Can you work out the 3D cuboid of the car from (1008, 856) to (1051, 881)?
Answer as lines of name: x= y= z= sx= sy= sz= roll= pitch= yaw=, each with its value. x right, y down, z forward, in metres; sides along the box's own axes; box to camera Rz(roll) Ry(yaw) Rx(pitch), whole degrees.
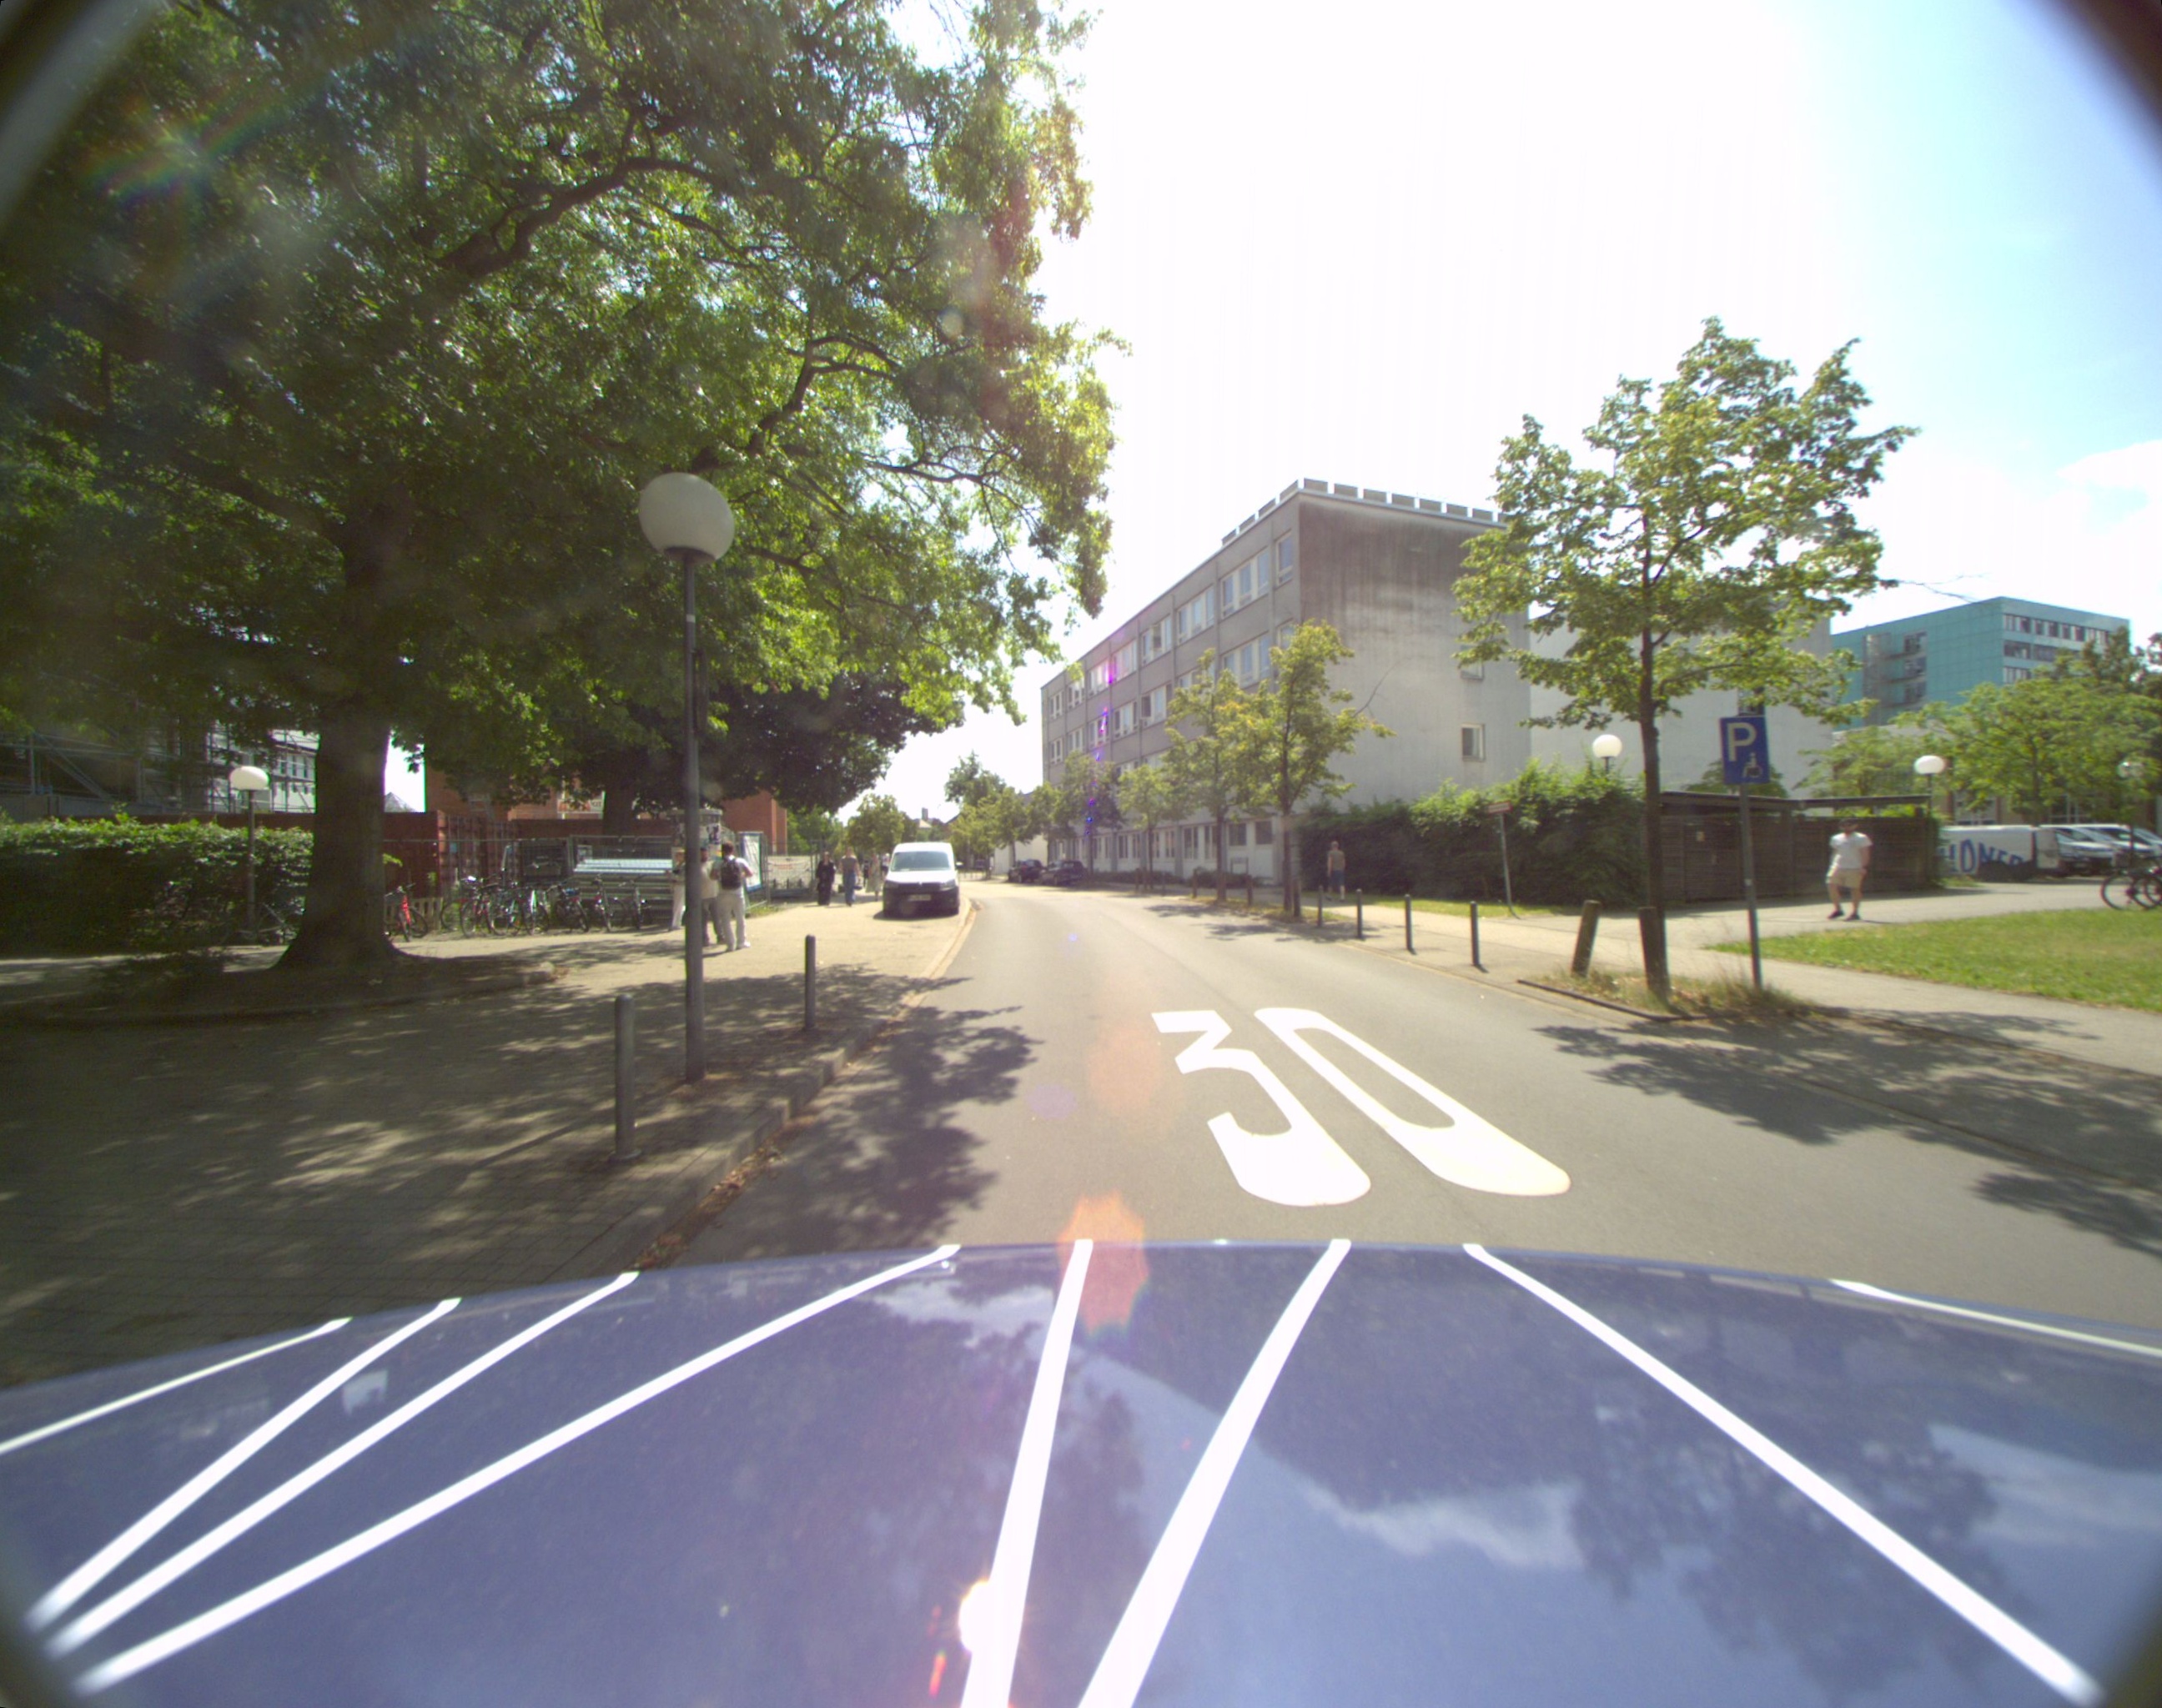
car: x=-3.482 y=0.970 z=50.582 sx=1.704 sy=1.555 sz=4.061 roll=-1 pitch=0 yaw=-21

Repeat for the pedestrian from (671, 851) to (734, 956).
pedestrian: x=-6.380 y=0.808 z=12.821 sx=0.562 sy=1.700 sz=0.747 roll=-1 pitch=1 yaw=35

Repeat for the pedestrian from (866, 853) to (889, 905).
pedestrian: x=-6.594 y=0.788 z=24.589 sx=0.652 sy=1.656 sz=0.903 roll=-1 pitch=0 yaw=-18

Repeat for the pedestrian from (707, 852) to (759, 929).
pedestrian: x=-7.590 y=0.785 z=16.605 sx=0.714 sy=1.622 sz=0.712 roll=-1 pitch=1 yaw=13

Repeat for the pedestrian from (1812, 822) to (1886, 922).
pedestrian: x=13.563 y=0.314 z=13.437 sx=0.617 sy=1.710 sz=0.688 roll=-1 pitch=0 yaw=-11

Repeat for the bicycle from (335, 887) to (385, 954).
bicycle: x=-13.206 y=1.180 z=13.952 sx=0.501 sy=1.071 sz=1.803 roll=0 pitch=0 yaw=-38

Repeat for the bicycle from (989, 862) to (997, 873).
bicycle: x=-8.727 y=1.327 z=75.251 sx=0.545 sy=1.055 sz=1.897 roll=-1 pitch=0 yaw=-14

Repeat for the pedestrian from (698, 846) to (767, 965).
pedestrian: x=-5.496 y=0.779 z=11.996 sx=0.628 sy=1.811 sz=0.725 roll=-1 pitch=1 yaw=35

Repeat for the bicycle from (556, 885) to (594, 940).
bicycle: x=-10.506 y=1.184 z=15.800 sx=0.515 sy=1.010 sz=1.804 roll=0 pitch=0 yaw=-29

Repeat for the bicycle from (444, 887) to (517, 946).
bicycle: x=-11.800 y=1.201 z=14.982 sx=0.515 sy=1.010 sz=1.805 roll=0 pitch=0 yaw=-18

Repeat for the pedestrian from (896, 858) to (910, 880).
pedestrian: x=-14.720 y=1.225 z=62.788 sx=0.827 sy=1.807 sz=1.142 roll=-1 pitch=0 yaw=-24

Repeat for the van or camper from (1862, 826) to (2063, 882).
van or camper: x=29.701 y=0.007 z=25.779 sx=1.758 sy=1.729 sz=4.094 roll=-1 pitch=0 yaw=-22

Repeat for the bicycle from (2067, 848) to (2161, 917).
bicycle: x=18.418 y=0.471 z=12.848 sx=0.582 sy=1.155 sz=2.046 roll=-1 pitch=0 yaw=-21

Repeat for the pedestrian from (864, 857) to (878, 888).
pedestrian: x=-12.389 y=1.081 z=44.777 sx=0.697 sy=1.770 sz=0.785 roll=-1 pitch=0 yaw=-24

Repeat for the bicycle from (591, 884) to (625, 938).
bicycle: x=-9.954 y=1.172 z=16.024 sx=0.515 sy=1.010 sz=1.804 roll=0 pitch=0 yaw=-29

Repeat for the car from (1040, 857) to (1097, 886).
car: x=-0.755 y=0.935 z=42.448 sx=1.785 sy=1.452 sz=4.251 roll=-3 pitch=0 yaw=-21

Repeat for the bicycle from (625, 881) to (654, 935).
bicycle: x=-9.392 y=1.118 z=16.200 sx=0.515 sy=1.010 sz=1.804 roll=0 pitch=0 yaw=-29

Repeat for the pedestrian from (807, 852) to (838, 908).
pedestrian: x=-7.486 y=0.746 z=22.049 sx=0.670 sy=1.590 sz=0.984 roll=-1 pitch=0 yaw=-8

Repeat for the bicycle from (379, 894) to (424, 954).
bicycle: x=-12.713 y=1.280 z=14.249 sx=0.515 sy=0.951 sz=1.803 roll=0 pitch=0 yaw=-38

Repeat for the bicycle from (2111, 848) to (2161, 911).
bicycle: x=19.877 y=0.452 z=13.336 sx=0.582 sy=1.116 sz=2.046 roll=-1 pitch=0 yaw=-21

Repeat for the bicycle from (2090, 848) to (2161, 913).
bicycle: x=19.116 y=0.459 z=13.059 sx=0.582 sy=1.116 sz=2.046 roll=-1 pitch=0 yaw=-21

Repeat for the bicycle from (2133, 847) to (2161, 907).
bicycle: x=21.042 y=0.429 z=13.884 sx=0.582 sy=1.116 sz=2.046 roll=-1 pitch=0 yaw=-21

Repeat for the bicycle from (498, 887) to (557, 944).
bicycle: x=-11.142 y=1.204 z=15.348 sx=0.515 sy=1.010 sz=1.805 roll=0 pitch=0 yaw=-21

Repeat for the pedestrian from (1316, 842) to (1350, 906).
pedestrian: x=7.103 y=0.546 z=21.426 sx=0.585 sy=1.754 sz=0.911 roll=-1 pitch=0 yaw=-5

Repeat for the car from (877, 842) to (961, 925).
car: x=-4.104 y=0.676 z=19.862 sx=1.854 sy=1.880 sz=4.886 roll=-1 pitch=0 yaw=-9

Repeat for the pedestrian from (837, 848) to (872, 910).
pedestrian: x=-6.584 y=0.712 z=22.079 sx=0.852 sy=1.753 sz=0.715 roll=-1 pitch=0 yaw=-8

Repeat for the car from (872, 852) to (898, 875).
car: x=-21.969 y=1.049 z=84.921 sx=2.068 sy=2.528 sz=5.839 roll=-1 pitch=0 yaw=-21

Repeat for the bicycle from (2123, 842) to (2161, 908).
bicycle: x=20.466 y=0.380 z=13.607 sx=0.582 sy=1.235 sz=2.046 roll=-1 pitch=0 yaw=-21
